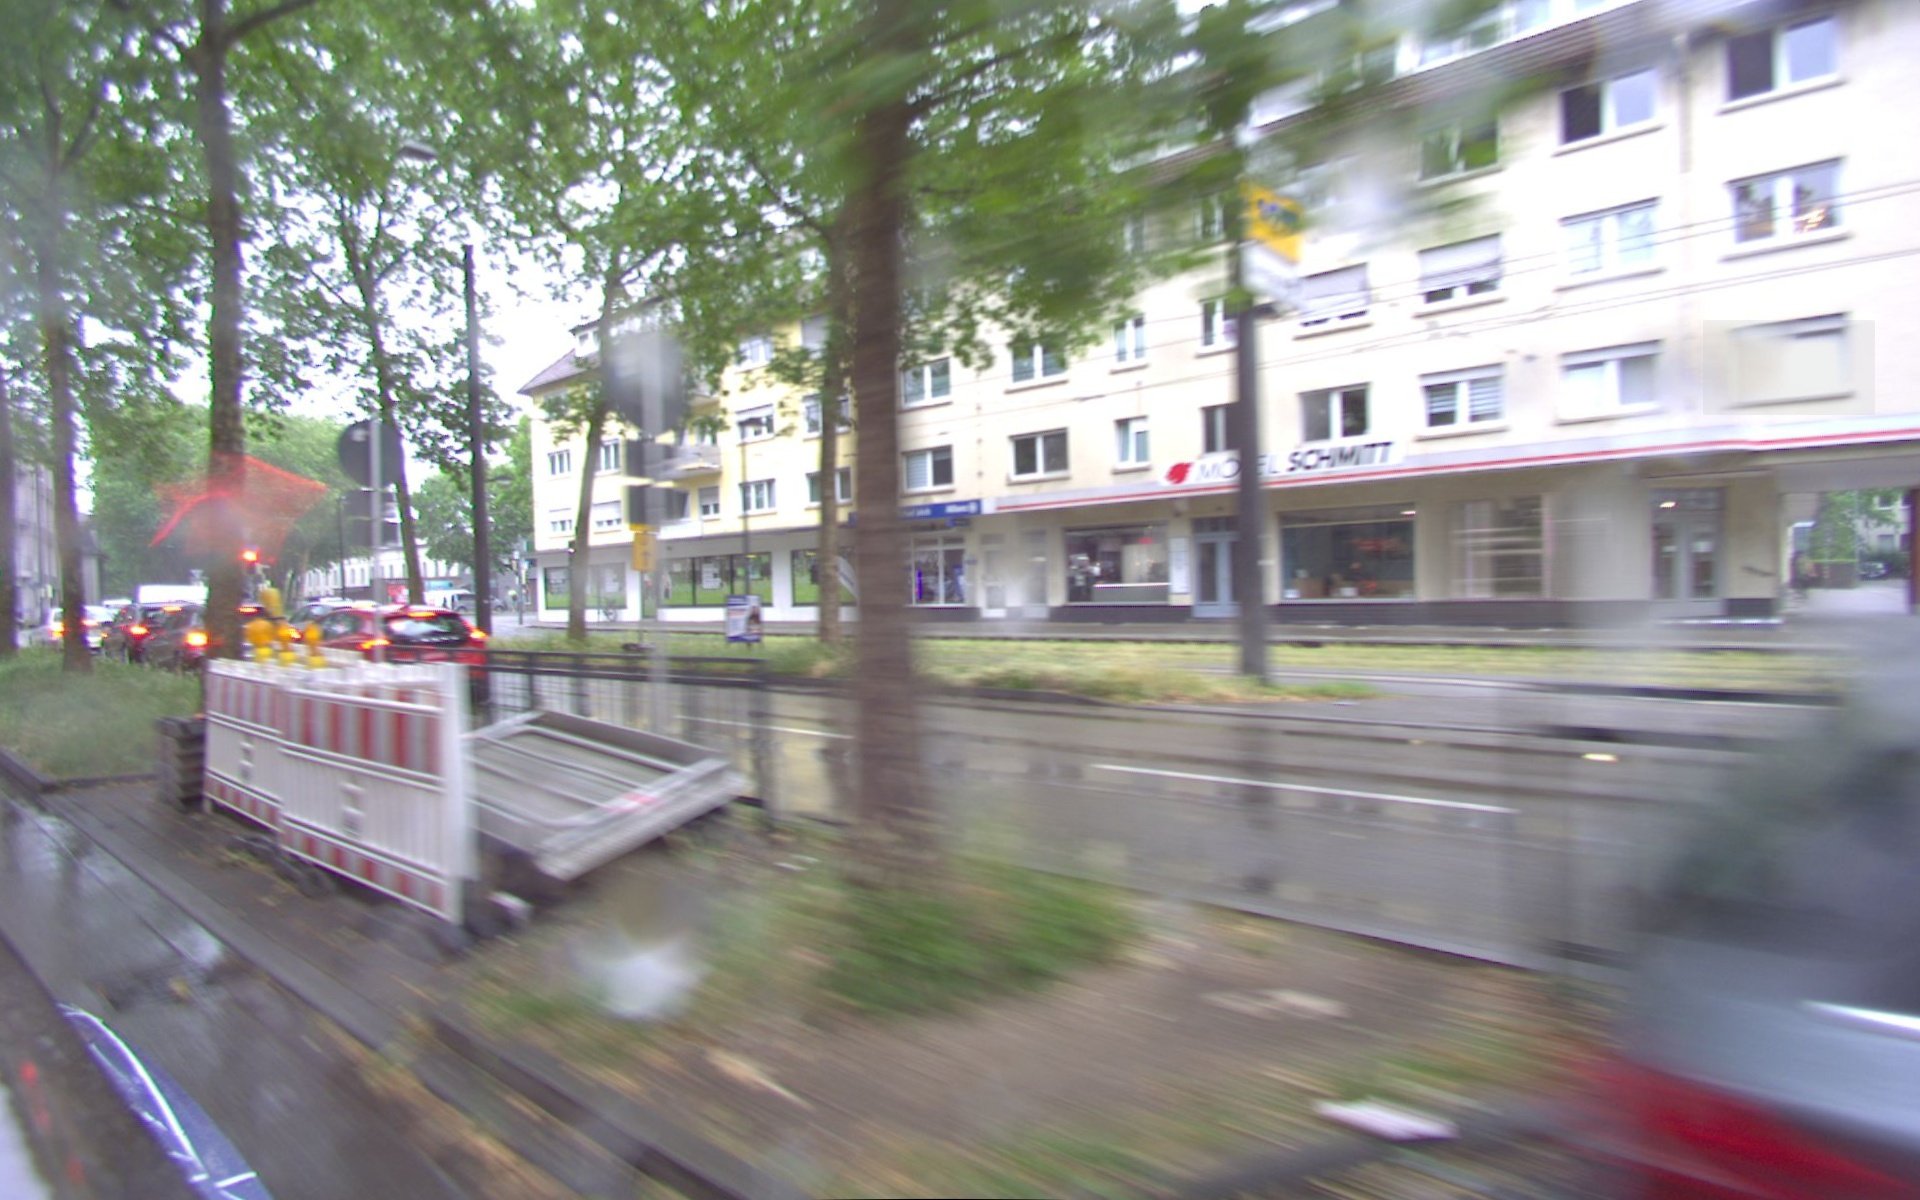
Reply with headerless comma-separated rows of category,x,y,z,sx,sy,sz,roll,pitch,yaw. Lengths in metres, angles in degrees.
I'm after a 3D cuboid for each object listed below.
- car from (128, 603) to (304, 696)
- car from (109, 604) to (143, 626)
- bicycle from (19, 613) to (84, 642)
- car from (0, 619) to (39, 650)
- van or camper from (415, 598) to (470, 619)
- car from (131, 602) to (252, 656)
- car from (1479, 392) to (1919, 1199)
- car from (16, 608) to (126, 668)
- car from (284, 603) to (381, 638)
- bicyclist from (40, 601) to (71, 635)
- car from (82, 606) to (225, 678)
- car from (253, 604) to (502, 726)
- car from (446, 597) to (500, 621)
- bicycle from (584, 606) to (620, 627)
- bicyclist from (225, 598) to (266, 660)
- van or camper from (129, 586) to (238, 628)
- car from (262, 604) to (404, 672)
car,-14.002,0.870,18.948,4.430,1.491,1.723,-1,1,41
car,-69.470,1.232,84.348,1.972,1.785,4.009,-1,0,-37
bicycle,-40.493,1.203,45.119,0.817,1.096,1.976,-7,-1,33
car,-49.823,1.801,51.219,1.770,1.524,4.537,0,1,13
van or camper,-51.501,0.839,100.692,4.581,2.091,2.003,0,0,-40
car,-23.985,0.890,31.552,4.276,1.513,1.857,-1,1,36
car,2.866,0.529,0.218,4.610,1.515,1.810,-1,2,40
car,-24.980,1.023,28.383,4.498,1.500,1.717,-1,1,41
car,-35.315,1.108,57.068,1.972,1.754,4.218,0,2,34
bicyclist,-40.468,0.779,45.272,0.925,1.481,0.796,1,0,33
car,-19.265,0.945,24.107,4.637,1.496,1.837,-1,1,41
car,-8.273,0.825,14.219,4.231,1.408,1.723,-1,1,41
car,-45.704,0.820,94.925,4.324,2.029,2.073,-1,1,-33
bicycle,-16.028,0.739,45.257,2.045,0.903,0.605,-1,0,42
bicyclist,-20.633,0.829,29.220,0.888,1.729,0.705,0,1,38
van or camper,-48.636,0.365,63.590,2.152,2.489,5.968,-1,1,1
car,-14.968,0.870,24.079,4.128,1.408,1.723,-1,1,41
